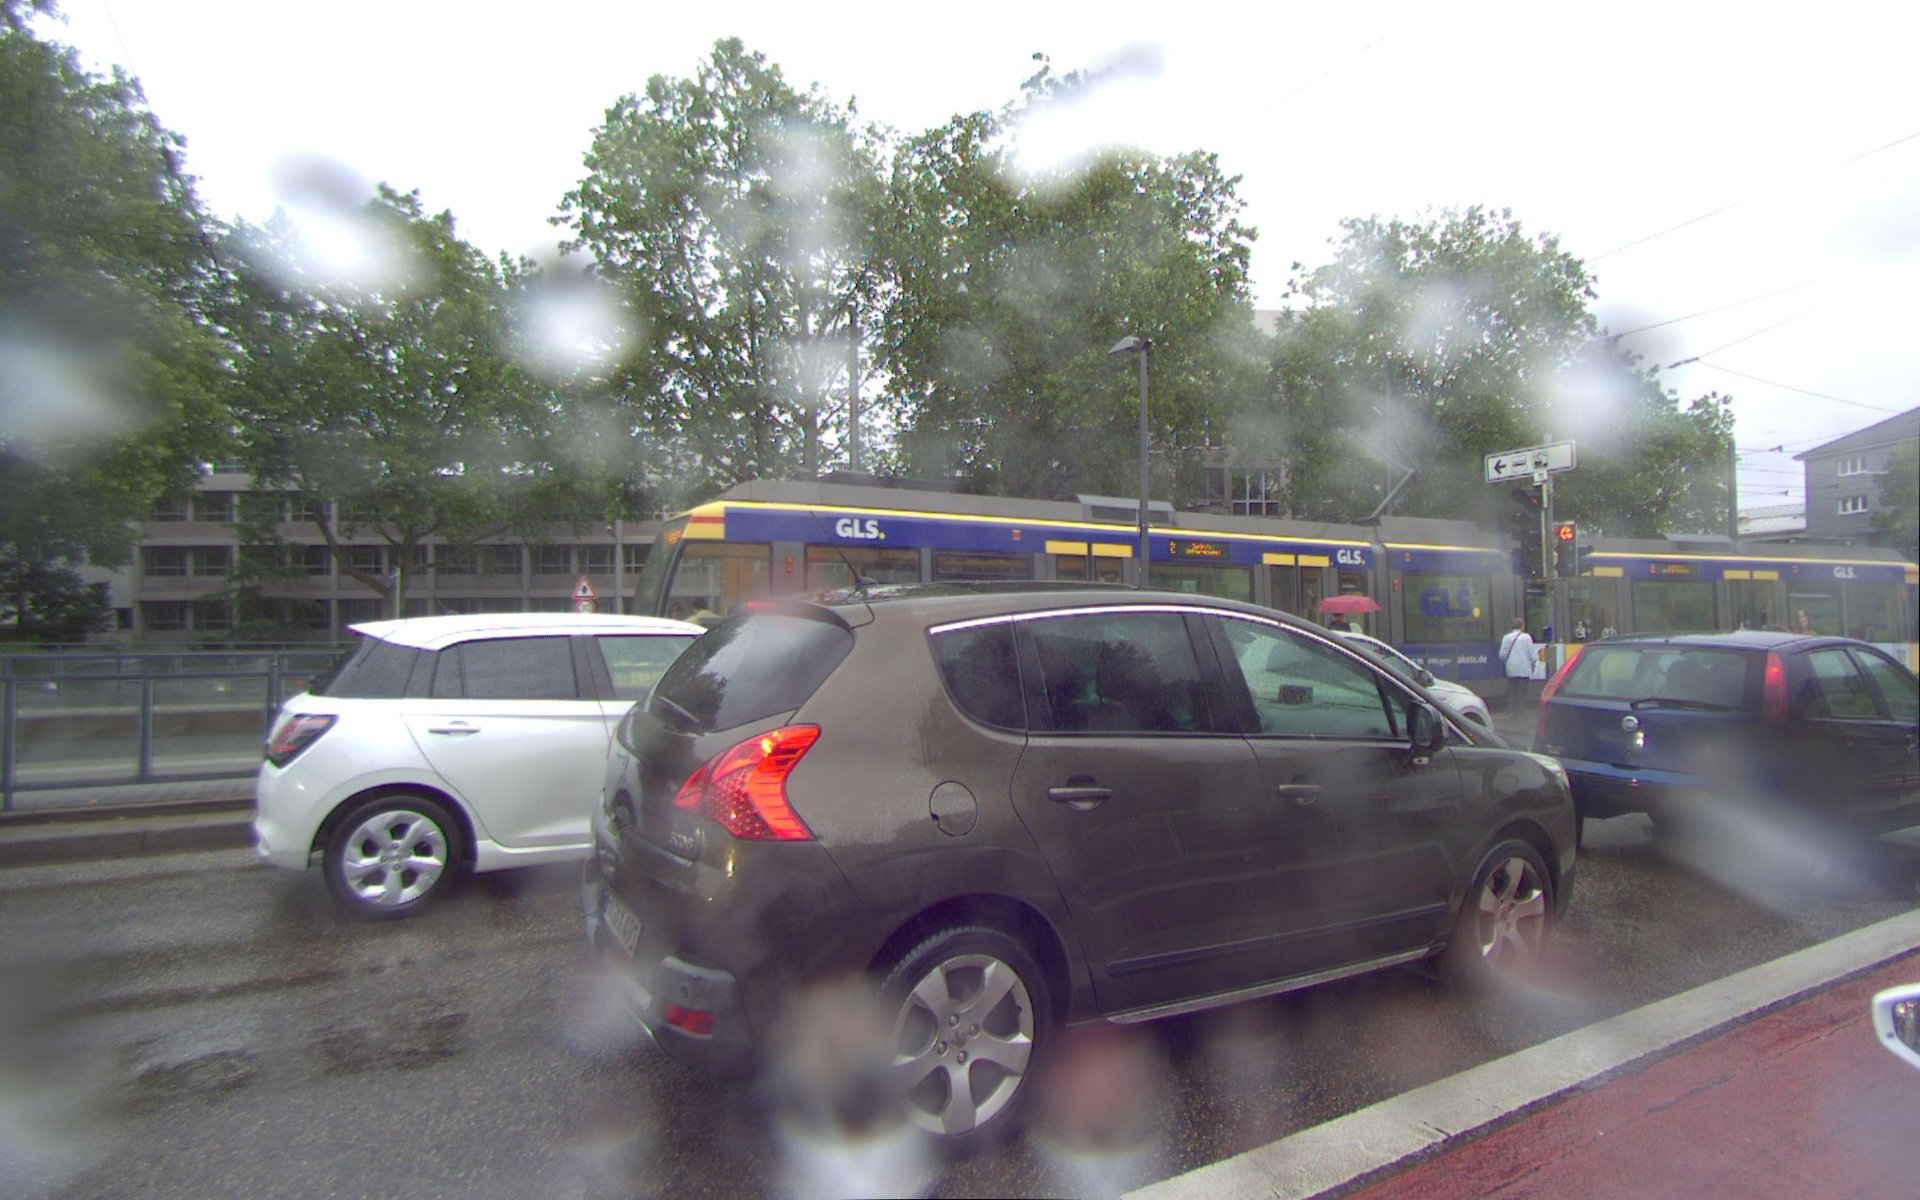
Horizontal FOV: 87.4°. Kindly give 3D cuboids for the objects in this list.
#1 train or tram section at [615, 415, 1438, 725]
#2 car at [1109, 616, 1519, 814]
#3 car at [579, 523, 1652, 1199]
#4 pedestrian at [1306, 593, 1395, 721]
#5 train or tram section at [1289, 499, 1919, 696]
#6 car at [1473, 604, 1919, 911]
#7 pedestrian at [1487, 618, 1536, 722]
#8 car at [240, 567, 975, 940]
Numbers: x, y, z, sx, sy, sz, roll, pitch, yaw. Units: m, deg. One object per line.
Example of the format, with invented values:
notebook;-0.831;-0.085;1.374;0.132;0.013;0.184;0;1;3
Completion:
train or tram section;1.740;-0.213;16.285;13.488;3.559;3.499;1;0;-28
car;3.392;0.949;9.469;3.737;1.514;1.621;1;-1;-30
car;0.775;0.719;4.113;4.124;1.690;1.825;1;-1;-30
pedestrian;5.620;0.803;14.463;0.888;1.769;0.762;0;-3;-30
train or tram section;14.711;0.130;21.786;15.260;3.458;3.538;2;0;-18
car;5.514;0.873;6.975;3.776;1.599;1.719;1;-1;-30
pedestrian;9.009;1.124;16.402;0.616;1.628;0.740;1;0;35
car;-1.945;0.735;6.134;3.791;1.650;1.637;1;-2;-30
